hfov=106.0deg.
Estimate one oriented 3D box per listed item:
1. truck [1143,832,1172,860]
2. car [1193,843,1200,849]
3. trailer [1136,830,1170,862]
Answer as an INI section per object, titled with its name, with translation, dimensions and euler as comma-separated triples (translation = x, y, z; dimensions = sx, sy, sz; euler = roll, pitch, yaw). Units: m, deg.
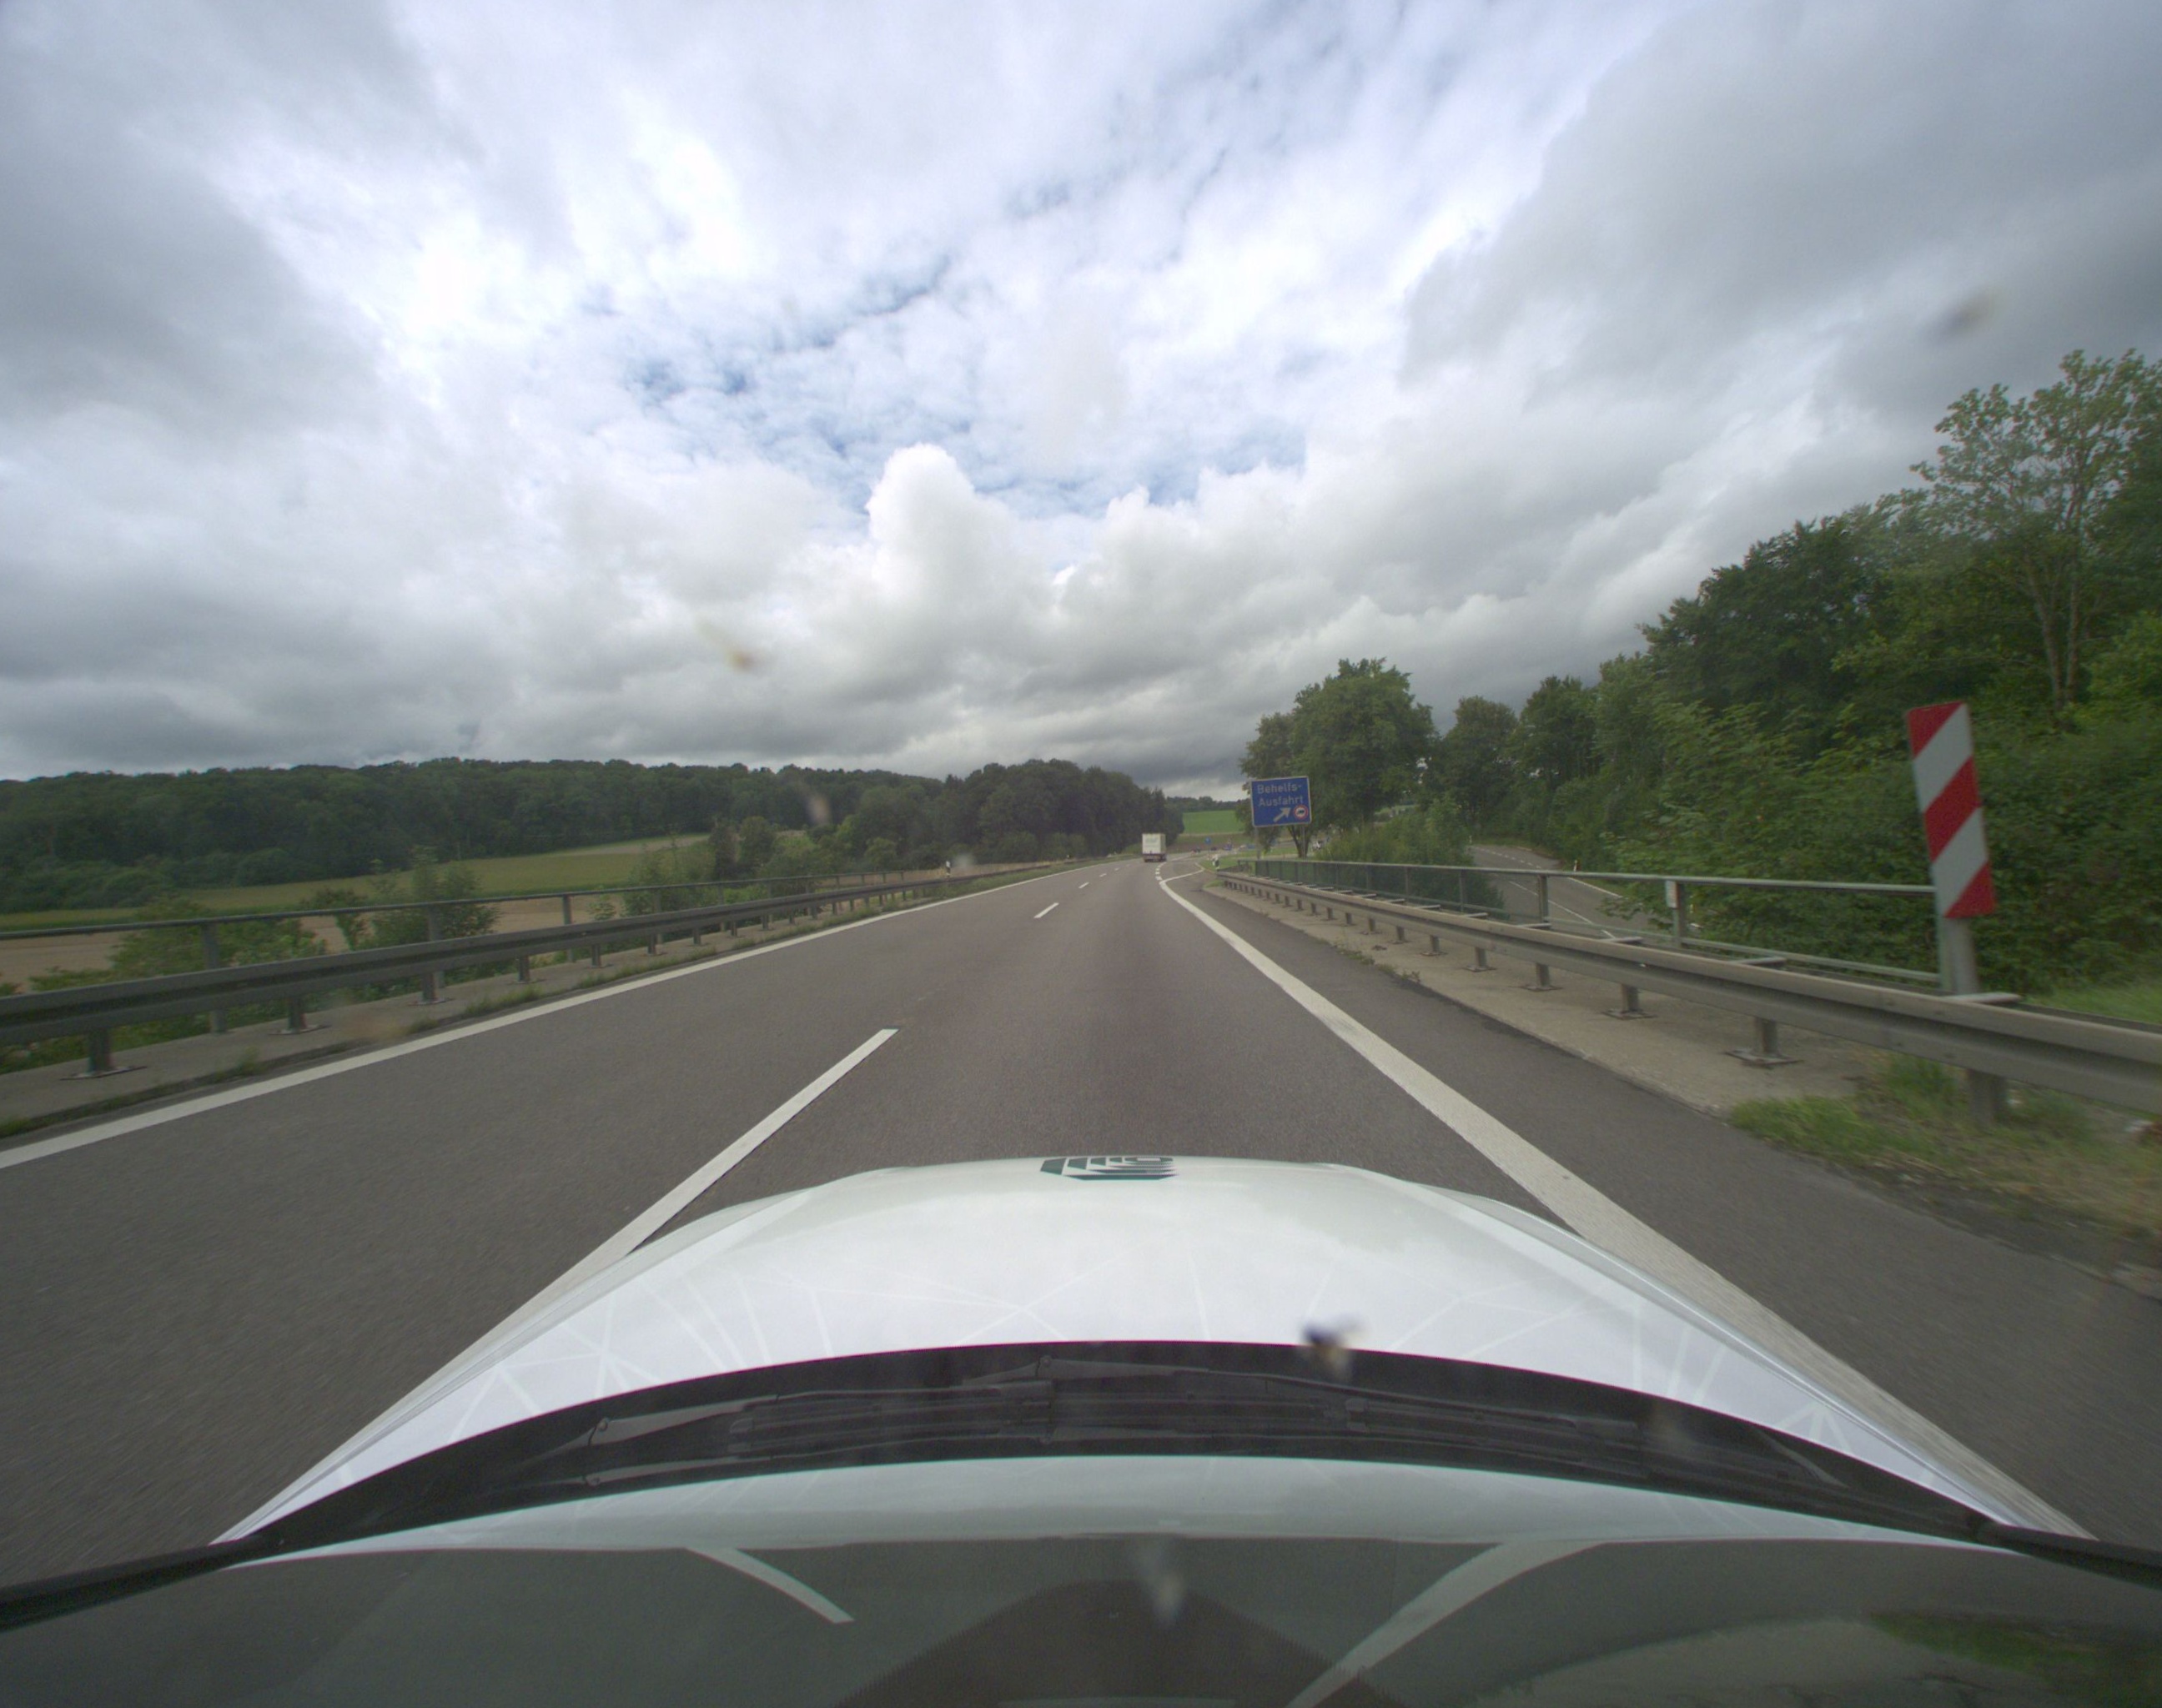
[truck]
translation = 11.762, -1.222, 125.042
dimensions = 3.765, 4.131, 8.286
euler = -1, 0, 9
[car]
translation = 34.497, -2.417, 243.066
dimensions = 1.891, 1.795, 4.011
euler = -2, -1, 10
[trailer]
translation = 10.553, -1.152, 117.722
dimensions = 3.783, 4.174, 14.846
euler = -1, 0, 9
